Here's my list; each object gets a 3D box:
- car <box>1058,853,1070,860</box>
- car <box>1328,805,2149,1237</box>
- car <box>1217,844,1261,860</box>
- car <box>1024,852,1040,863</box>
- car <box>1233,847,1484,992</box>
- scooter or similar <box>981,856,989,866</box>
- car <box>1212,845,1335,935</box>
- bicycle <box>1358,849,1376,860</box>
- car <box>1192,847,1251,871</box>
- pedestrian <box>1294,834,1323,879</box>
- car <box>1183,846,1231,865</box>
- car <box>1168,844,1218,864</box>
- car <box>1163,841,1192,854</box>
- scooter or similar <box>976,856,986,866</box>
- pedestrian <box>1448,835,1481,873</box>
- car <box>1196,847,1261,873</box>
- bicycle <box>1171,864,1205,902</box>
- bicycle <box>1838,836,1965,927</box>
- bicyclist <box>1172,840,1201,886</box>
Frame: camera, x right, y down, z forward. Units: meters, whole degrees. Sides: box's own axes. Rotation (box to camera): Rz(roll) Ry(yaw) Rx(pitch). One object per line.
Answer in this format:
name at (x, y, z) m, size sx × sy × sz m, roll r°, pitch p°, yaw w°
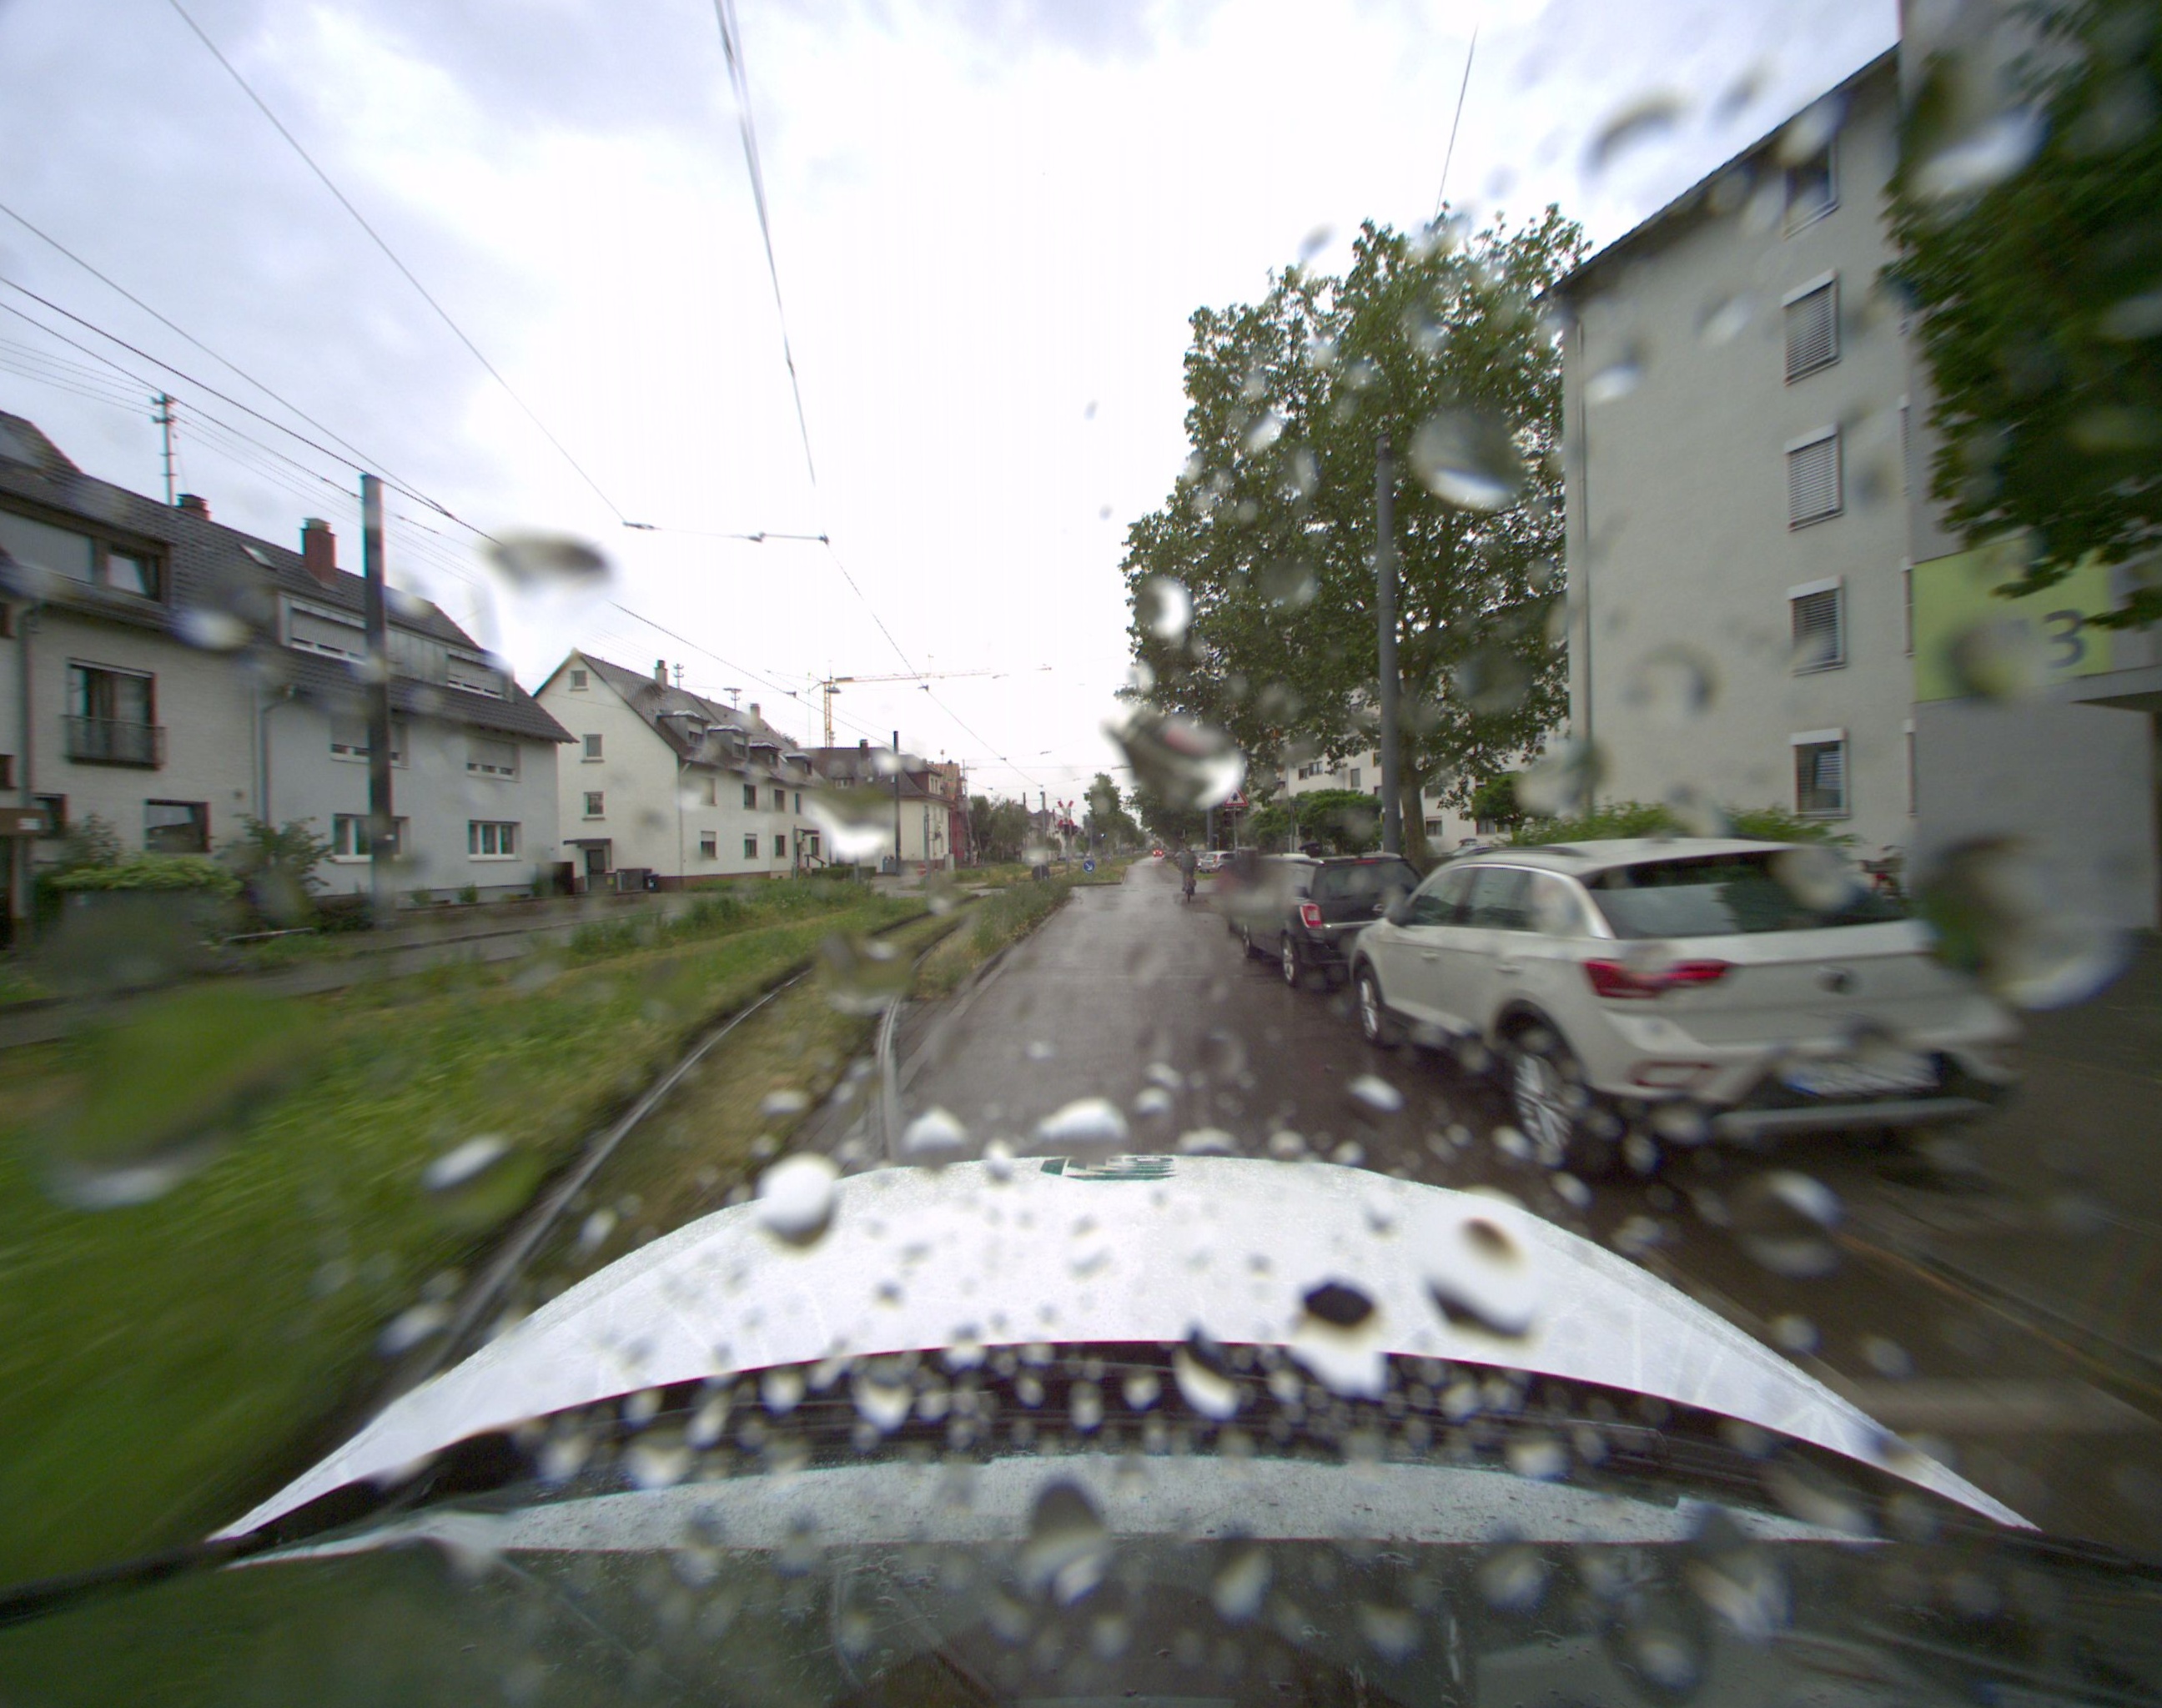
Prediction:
car at (-3.148, 0.411, 152.708) m, size 1.655 × 1.244 × 4.078 m, roll 1°, pitch 0°, yaw 6°
car at (3.113, 0.624, 5.142) m, size 1.893 × 1.575 × 4.113 m, roll -2°, pitch 0°, yaw 1°
car at (18.963, -0.269, 98.023) m, size 4.804 × 1.745 × 1.993 m, roll -1°, pitch 0°, yaw -11°
car at (-7.404, 0.473, 123.288) m, size 1.701 × 1.542 × 4.430 m, roll 1°, pitch 1°, yaw 7°
car at (3.293, 0.677, 10.621) m, size 1.893 × 1.449 × 4.185 m, roll -2°, pitch 0°, yaw 1°
scooter or similar at (-11.565, 0.801, 97.796) m, size 0.390 × 1.180 × 1.289 m, roll -1°, pitch 0°, yaw 20°
car at (3.672, 0.618, 16.172) m, size 1.552 × 1.519 × 4.002 m, roll -2°, pitch 0°, yaw 2°
bicycle at (23.359, 0.026, 66.609) m, size 0.491 × 0.847 × 1.561 m, roll -2°, pitch 0°, yaw -21°
car at (9.963, 0.347, 57.501) m, size 4.017 × 1.508 × 1.687 m, roll -2°, pitch -2°, yaw -35°
pedestrian at (9.486, 0.100, 33.976) m, size 1.091 × 1.813 × 1.439 m, roll -1°, pitch 0°, yaw 14°
car at (10.787, 0.132, 69.524) m, size 4.019 × 1.429 × 1.715 m, roll -2°, pitch 0°, yaw -37°
car at (10.027, -0.027, 72.577) m, size 4.370 × 1.651 × 1.837 m, roll -2°, pitch 0°, yaw -37°
car at (15.604, -1.064, 131.451) m, size 4.158 × 1.719 × 1.983 m, roll -4°, pitch 1°, yaw -27°
scooter or similar at (-11.605, 0.857, 94.685) m, size 0.435 × 1.129 × 1.291 m, roll -2°, pitch 0°, yaw 35°
pedestrian at (18.281, -0.010, 38.841) m, size 1.173 × 1.768 × 0.721 m, roll -1°, pitch 0°, yaw 2°
car at (9.825, 0.393, 54.167) m, size 4.014 × 1.508 × 1.766 m, roll -2°, pitch -2°, yaw -32°
bicycle at (3.409, 0.908, 26.181) m, size 0.806 × 1.096 × 2.518 m, roll -2°, pitch 0°, yaw 2°
bicycle at (11.091, 0.343, 10.998) m, size 1.863 × 1.141 × 0.529 m, roll -1°, pitch 0°, yaw -22°
bicyclist at (3.377, 0.273, 26.120) m, size 0.806 × 1.432 × 1.060 m, roll -2°, pitch 0°, yaw 2°
